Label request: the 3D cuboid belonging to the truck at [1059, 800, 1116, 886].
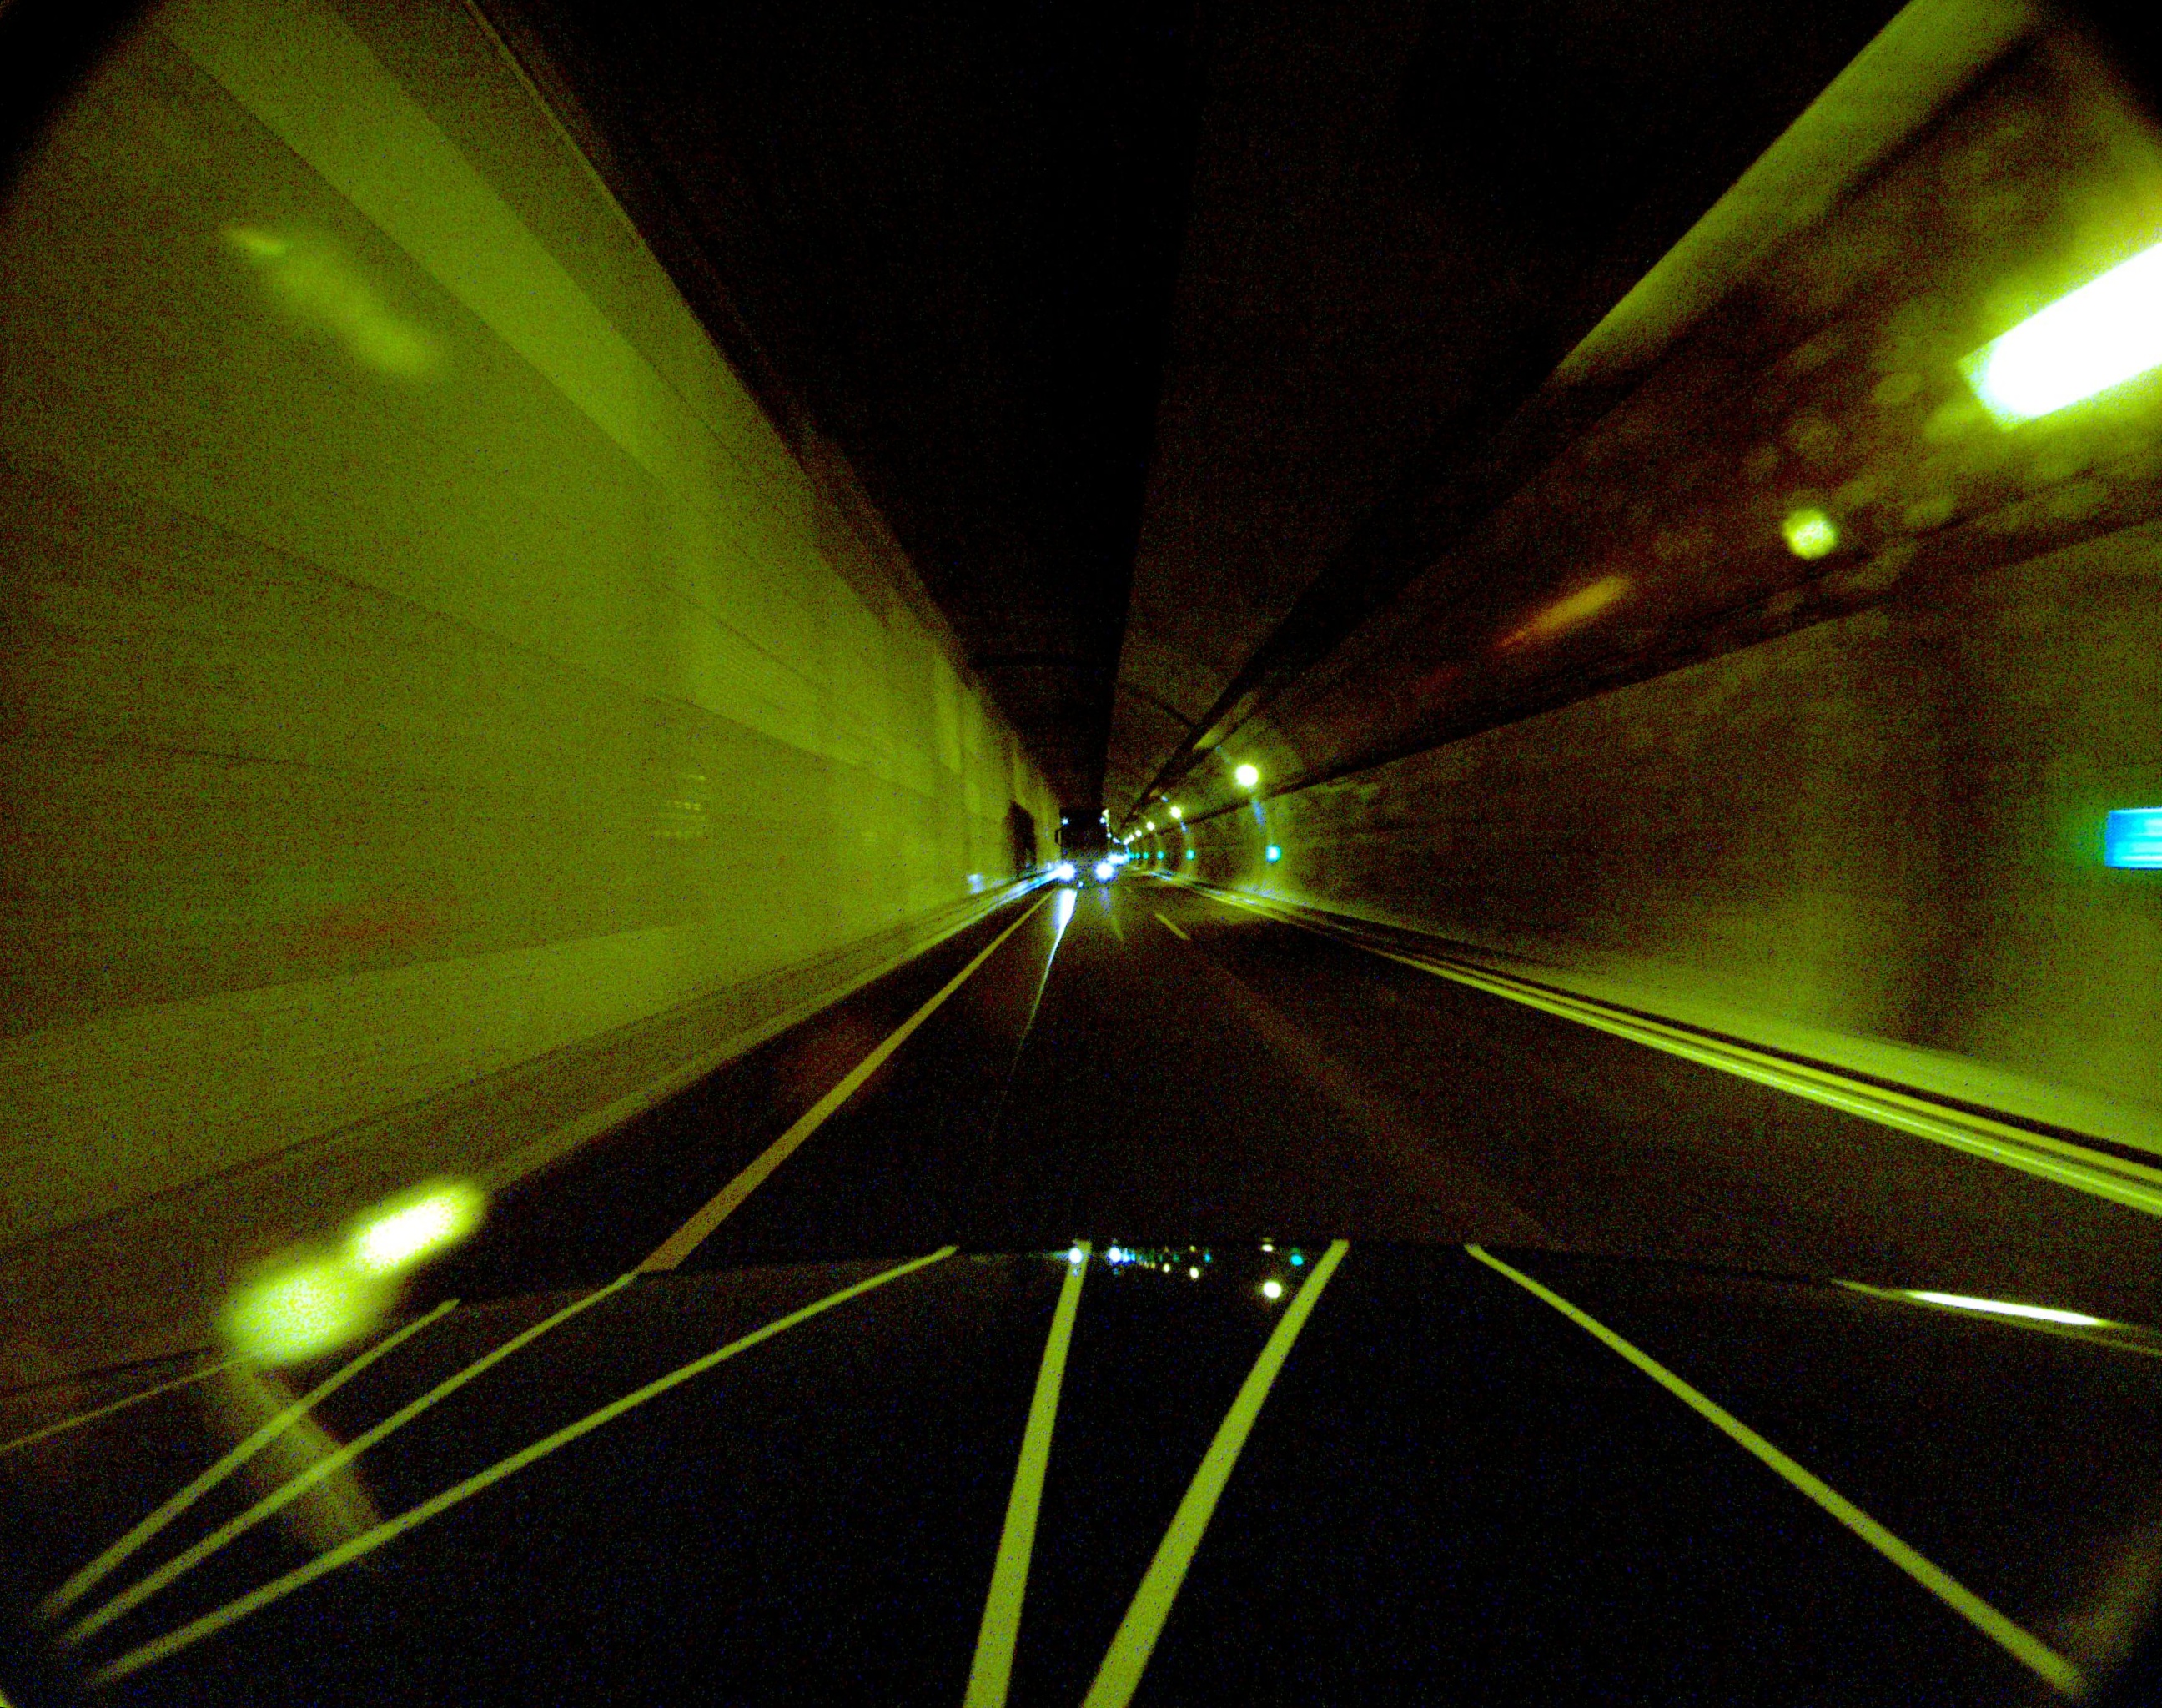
[{"bbox_3d":[0.396,-0.581,41.371,2.769,4.198,7.977,-1,1,1],"label":"truck"}]
